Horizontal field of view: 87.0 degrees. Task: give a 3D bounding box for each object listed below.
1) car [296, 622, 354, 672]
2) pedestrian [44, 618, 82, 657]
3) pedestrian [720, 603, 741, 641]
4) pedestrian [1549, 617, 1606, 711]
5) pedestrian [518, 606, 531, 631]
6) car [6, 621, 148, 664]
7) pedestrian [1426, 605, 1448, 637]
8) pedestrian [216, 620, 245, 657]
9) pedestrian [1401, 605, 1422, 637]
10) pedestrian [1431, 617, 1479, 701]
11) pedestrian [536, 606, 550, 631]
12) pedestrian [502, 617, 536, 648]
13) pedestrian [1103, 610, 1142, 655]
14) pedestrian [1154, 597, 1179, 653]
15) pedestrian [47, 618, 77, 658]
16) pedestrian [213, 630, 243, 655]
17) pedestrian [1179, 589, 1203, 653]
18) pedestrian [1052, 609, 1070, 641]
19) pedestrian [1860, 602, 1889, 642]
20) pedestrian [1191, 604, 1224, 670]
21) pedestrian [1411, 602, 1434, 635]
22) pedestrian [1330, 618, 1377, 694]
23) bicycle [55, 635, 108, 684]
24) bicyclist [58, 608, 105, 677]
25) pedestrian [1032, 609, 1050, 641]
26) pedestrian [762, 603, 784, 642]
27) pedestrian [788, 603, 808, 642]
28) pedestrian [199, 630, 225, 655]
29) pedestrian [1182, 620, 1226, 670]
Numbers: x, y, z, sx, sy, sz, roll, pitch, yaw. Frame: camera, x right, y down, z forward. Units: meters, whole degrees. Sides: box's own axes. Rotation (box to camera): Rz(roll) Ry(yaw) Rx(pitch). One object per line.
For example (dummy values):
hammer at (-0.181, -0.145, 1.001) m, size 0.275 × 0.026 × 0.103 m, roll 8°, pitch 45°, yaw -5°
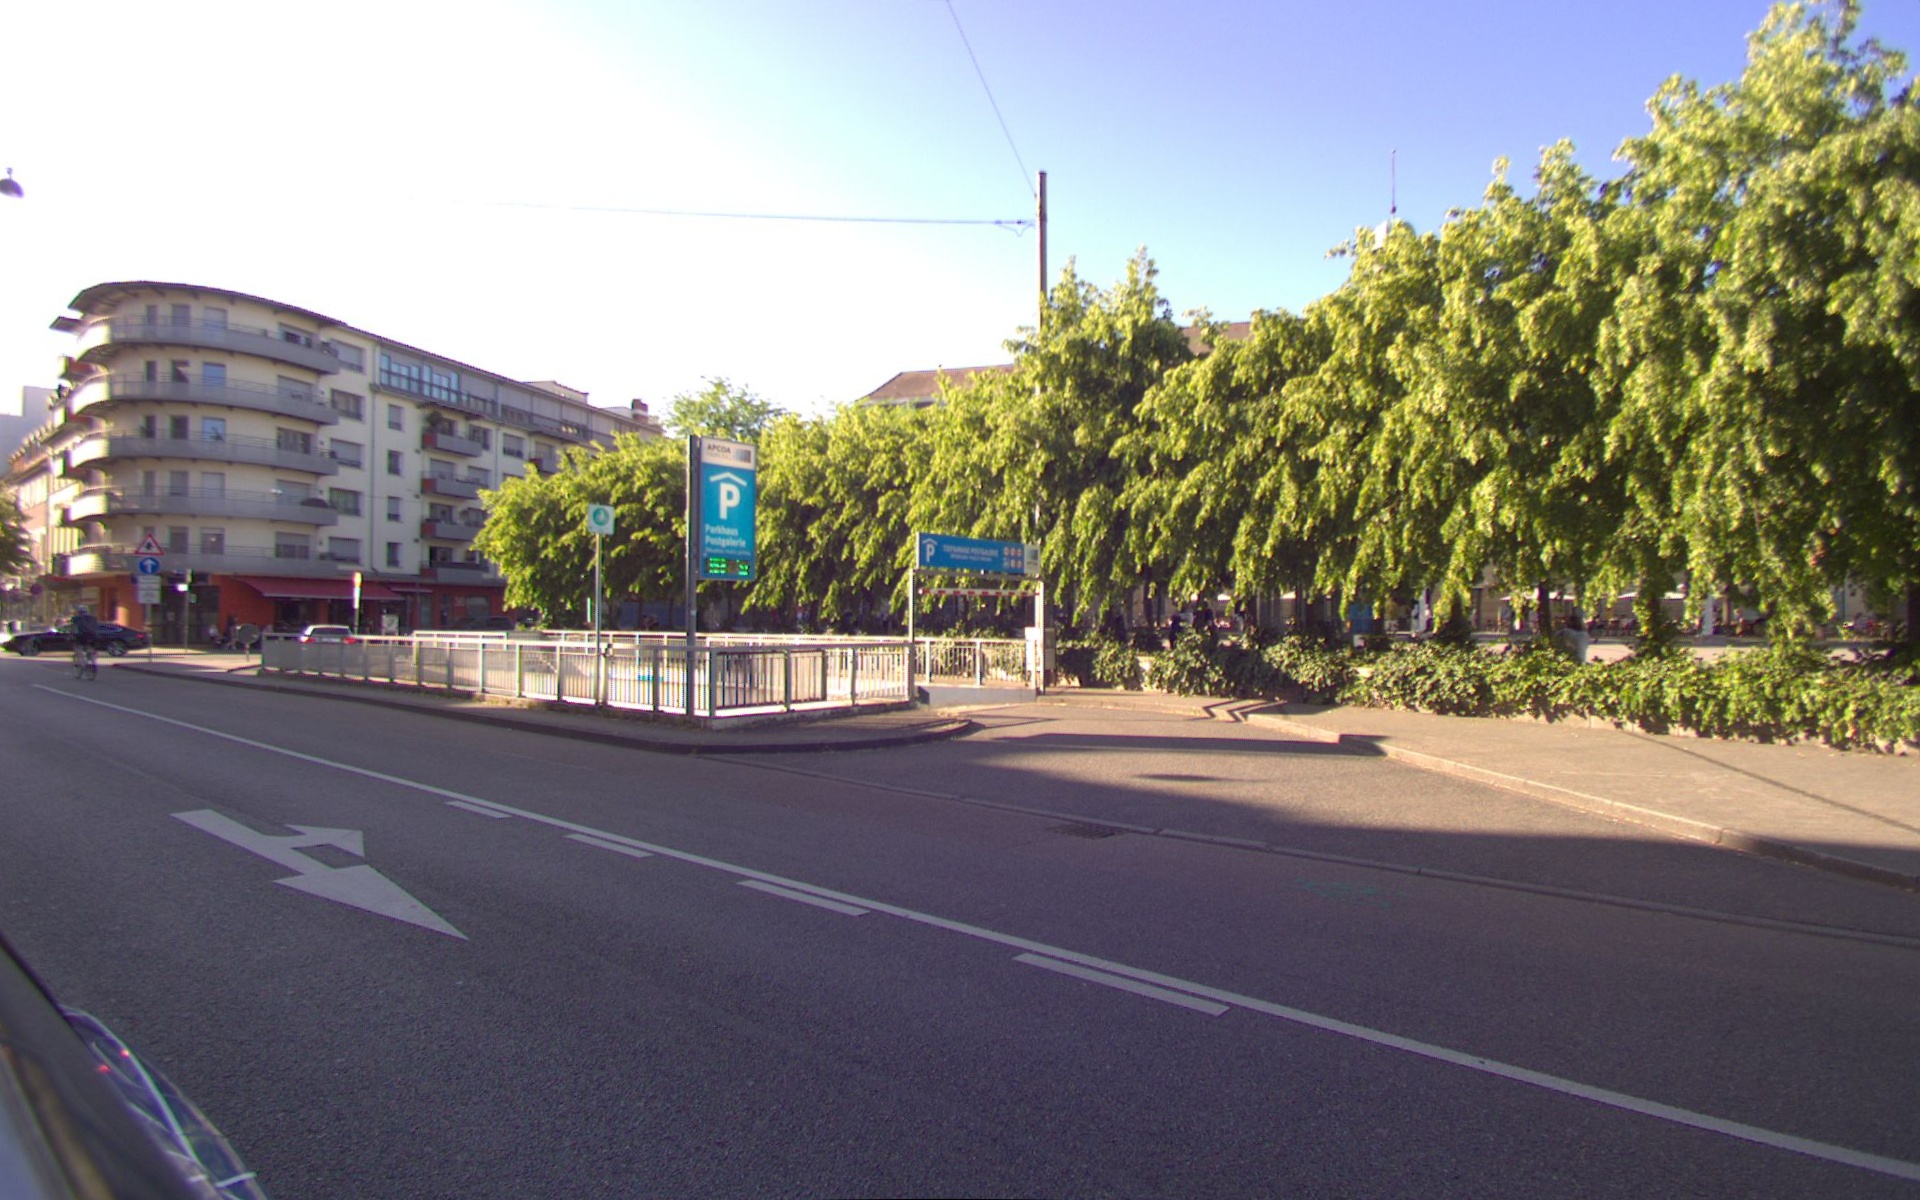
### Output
car at (-22.007, 1.588, 35.140) m, size 1.611 × 1.542 × 3.919 m, roll -1°, pitch 0°, yaw -32°
pedestrian at (-41.654, 1.737, 47.010) m, size 1.051 × 1.732 × 1.084 m, roll -1°, pitch 0°, yaw -25°
pedestrian at (-11.398, 1.097, 50.268) m, size 0.679 × 1.857 × 0.743 m, roll -1°, pitch 0°, yaw 19°
pedestrian at (9.809, 1.010, 16.094) m, size 0.611 × 1.447 × 0.588 m, roll -1°, pitch 0°, yaw 14°
pedestrian at (-32.745, 1.414, 76.114) m, size 0.735 × 1.857 × 0.686 m, roll -1°, pitch 0°, yaw -12°
car at (-35.873, 1.690, 41.271) m, size 4.180 × 1.542 × 1.681 m, roll -1°, pitch 0°, yaw -36°
pedestrian at (23.209, 1.013, 49.253) m, size 0.672 × 1.542 × 0.696 m, roll -1°, pitch 0°, yaw -18°
pedestrian at (-36.037, 1.887, 50.013) m, size 0.946 × 1.762 × 1.065 m, roll -1°, pitch 0°, yaw -24°
pedestrian at (22.204, 1.026, 49.784) m, size 0.673 × 1.535 × 0.695 m, roll -1°, pitch 0°, yaw -7°
pedestrian at (8.753, 1.023, 17.903) m, size 0.621 × 1.447 × 0.645 m, roll -1°, pitch 0°, yaw 39°
pedestrian at (-31.378, 1.396, 76.123) m, size 0.684 × 1.857 × 0.737 m, roll -1°, pitch 0°, yaw 41°
pedestrian at (-24.186, 1.761, 55.477) m, size 1.135 × 1.678 × 1.260 m, roll -1°, pitch 0°, yaw 28°
pedestrian at (4.037, 0.803, 25.143) m, size 0.682 × 1.079 × 0.686 m, roll -1°, pitch 0°, yaw -29°
pedestrian at (5.254, 0.623, 25.728) m, size 0.545 × 1.385 × 0.680 m, roll -1°, pitch 0°, yaw 19°
pedestrian at (-44.507, 1.860, 50.177) m, size 0.790 × 1.934 × 0.978 m, roll -1°, pitch 0°, yaw 37°
pedestrian at (-36.815, 2.123, 50.902) m, size 0.827 × 1.207 × 0.931 m, roll -1°, pitch 0°, yaw 16°
pedestrian at (5.833, 0.513, 25.532) m, size 0.522 × 1.594 × 0.680 m, roll -1°, pitch 0°, yaw 19°
pedestrian at (4.476, 1.103, 44.822) m, size 0.684 × 1.385 × 0.684 m, roll -1°, pitch 0°, yaw 1°
pedestrian at (35.692, 0.859, 39.502) m, size 0.683 × 1.542 × 0.742 m, roll -1°, pitch 0°, yaw -39°
pedestrian at (5.794, 0.849, 23.680) m, size 0.688 × 1.511 × 0.680 m, roll -1°, pitch 0°, yaw 19°
pedestrian at (22.234, 0.889, 48.625) m, size 0.672 × 1.536 × 0.696 m, roll -1°, pitch 0°, yaw -19°
pedestrian at (7.526, 1.058, 19.350) m, size 0.622 × 1.409 × 0.644 m, roll -1°, pitch 0°, yaw 44°
bicycle at (-22.414, 1.503, 25.813) m, size 1.954 × 1.171 × 0.610 m, roll 0°, pitch -3°, yaw 38°
bicyclist at (-22.432, 1.084, 25.841) m, size 0.808 × 1.722 × 0.695 m, roll -1°, pitch -3°, yaw 35°
pedestrian at (3.581, 1.114, 44.859) m, size 0.752 × 1.385 × 0.684 m, roll -1°, pitch 0°, yaw 1°
pedestrian at (-9.052, 1.098, 49.004) m, size 0.681 × 1.877 × 0.741 m, roll -1°, pitch 0°, yaw 27°
pedestrian at (-7.952, 1.093, 49.640) m, size 0.681 × 1.857 × 0.741 m, roll -1°, pitch 0°, yaw 27°
pedestrian at (-37.636, 2.134, 50.947) m, size 0.882 × 1.207 × 0.772 m, roll -1°, pitch 0°, yaw 30°
pedestrian at (5.414, 0.986, 22.478) m, size 0.682 × 1.079 × 0.686 m, roll -1°, pitch 0°, yaw -13°
